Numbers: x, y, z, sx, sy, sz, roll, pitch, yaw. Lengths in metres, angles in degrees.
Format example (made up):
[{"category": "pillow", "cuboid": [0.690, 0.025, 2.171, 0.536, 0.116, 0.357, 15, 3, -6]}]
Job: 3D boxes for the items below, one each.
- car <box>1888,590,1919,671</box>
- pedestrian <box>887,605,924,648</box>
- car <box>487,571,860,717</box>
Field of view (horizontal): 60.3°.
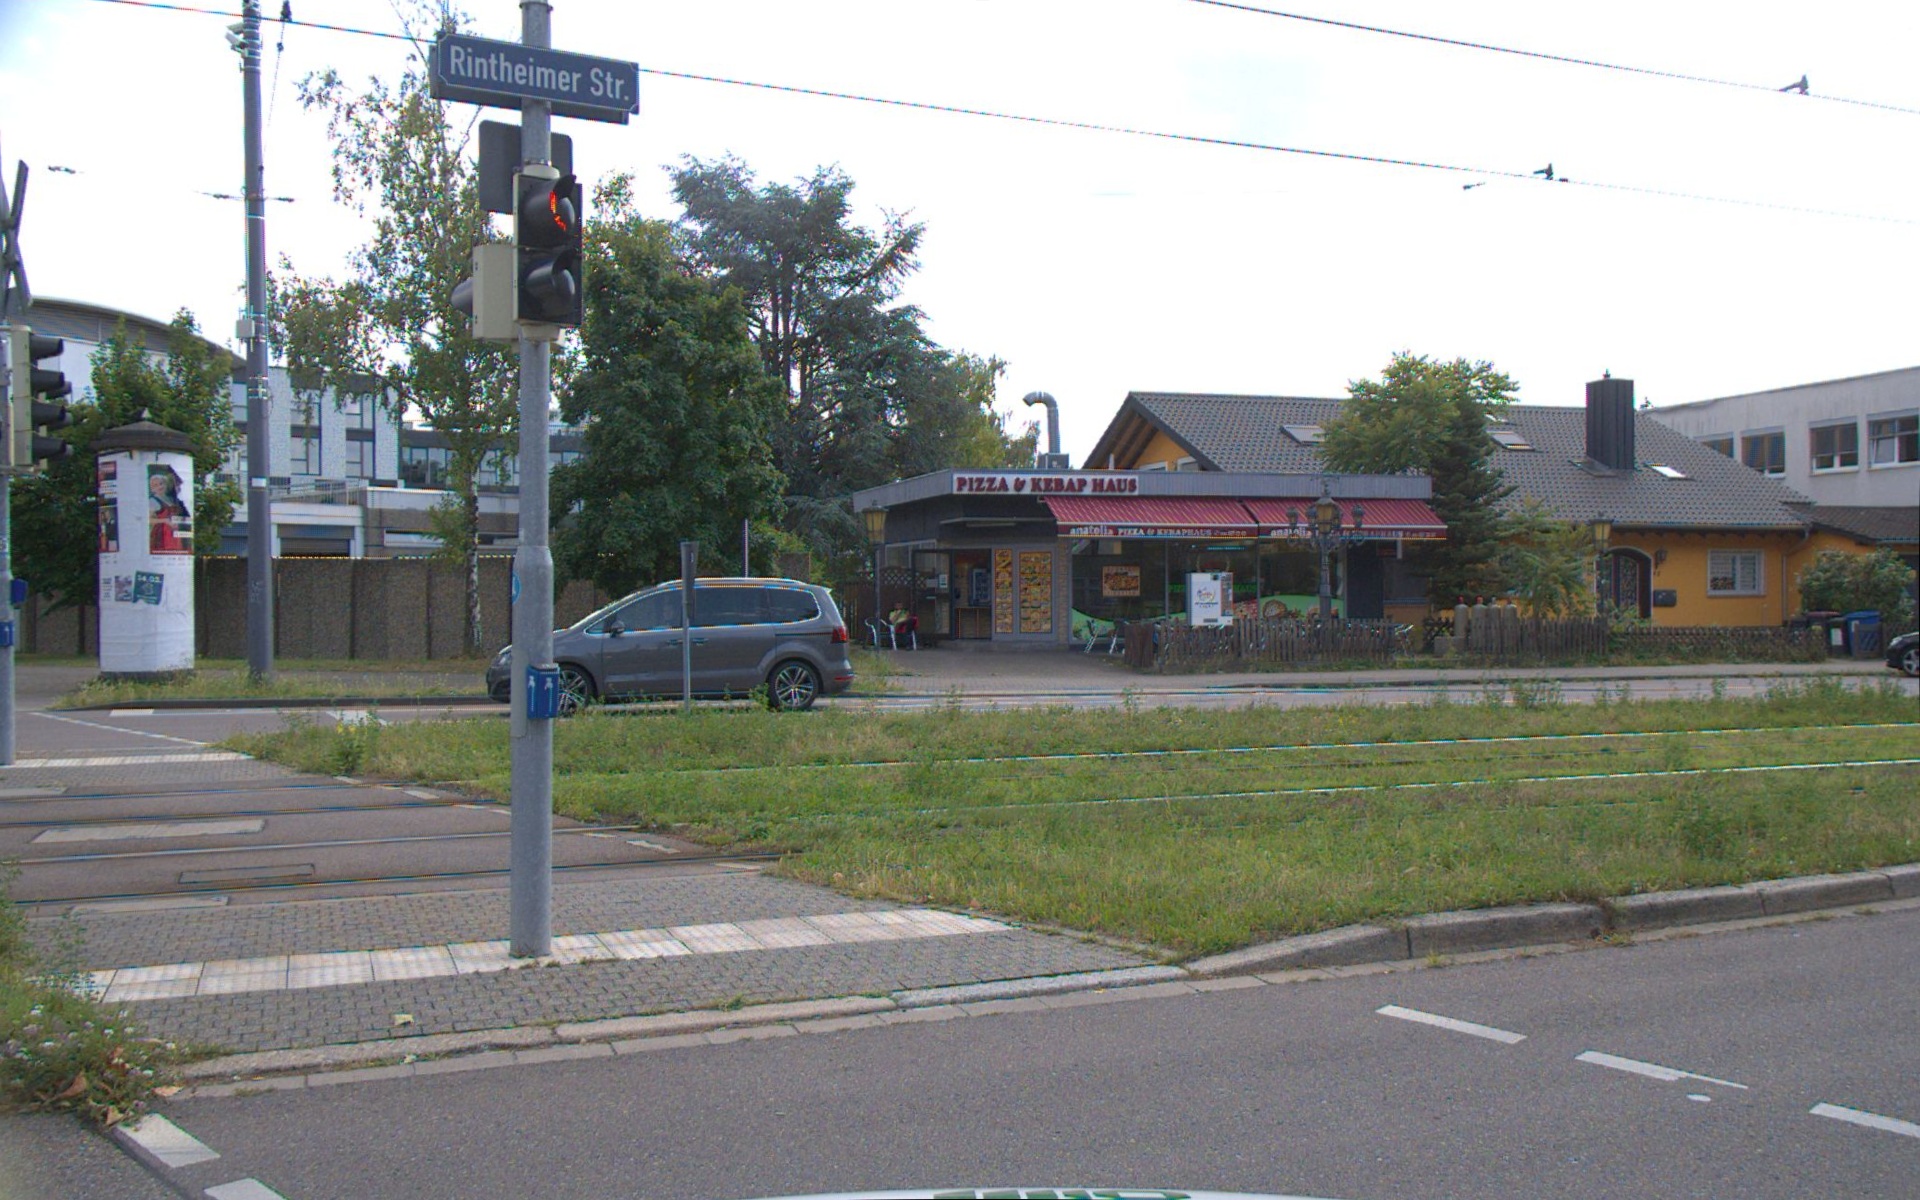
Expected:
[{"category": "car", "cuboid": [20.827, 0.559, 32.091, 1.979, 1.608, 4.519, 0, -1, -37]}, {"category": "pedestrian", "cuboid": [-1.251, 0.602, 37.938, 0.712, 0.945, 0.775, 0, 2, -12]}, {"category": "car", "cuboid": [-3.798, 0.522, 21.753, 4.649, 1.752, 1.991, 0, 0, -17]}]
